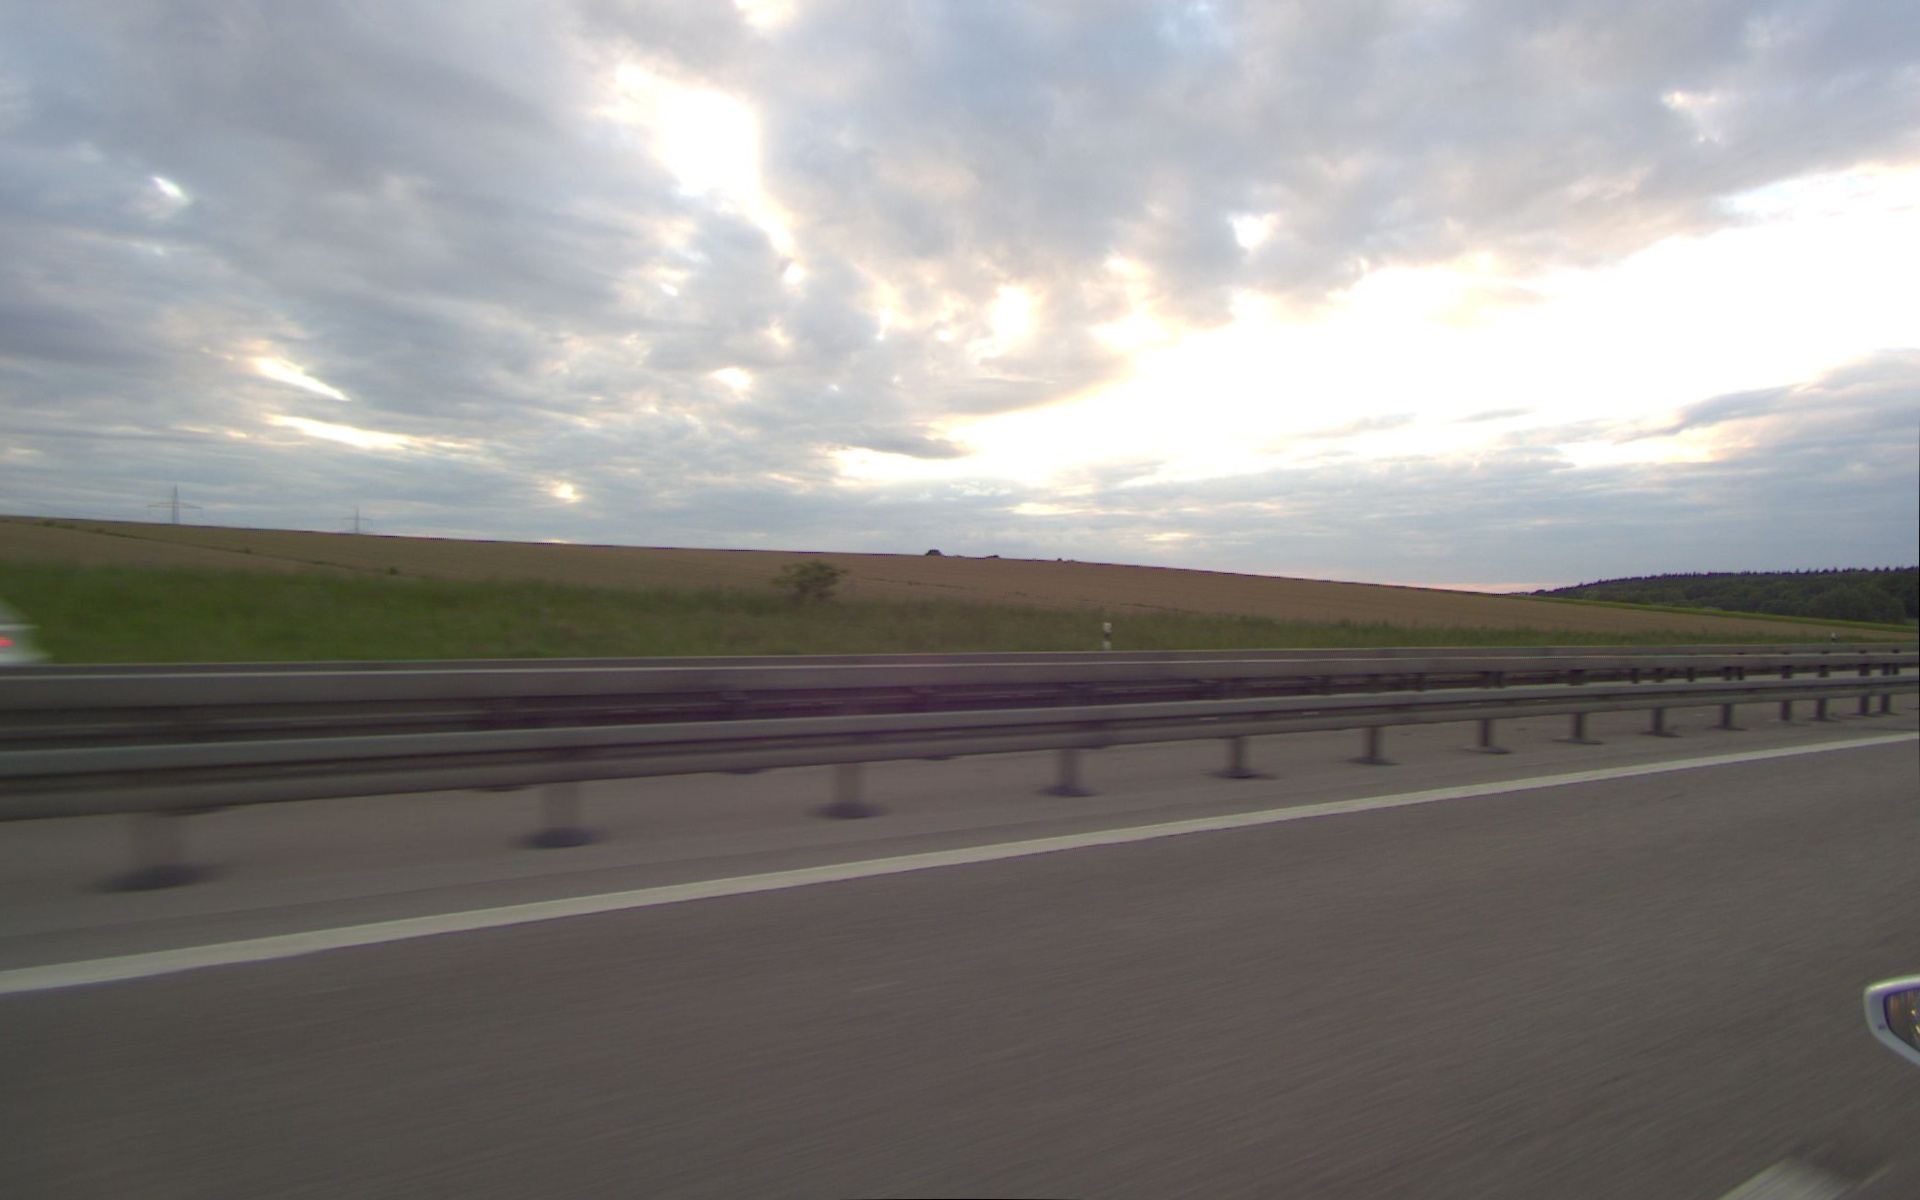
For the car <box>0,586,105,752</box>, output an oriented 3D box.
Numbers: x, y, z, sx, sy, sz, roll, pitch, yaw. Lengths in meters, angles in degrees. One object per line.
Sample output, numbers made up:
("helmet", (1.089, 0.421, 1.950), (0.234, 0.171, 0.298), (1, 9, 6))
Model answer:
("car", (-12.125, 0.703, 10.530), (4.536, 1.722, 1.781), (1, 2, -31))
